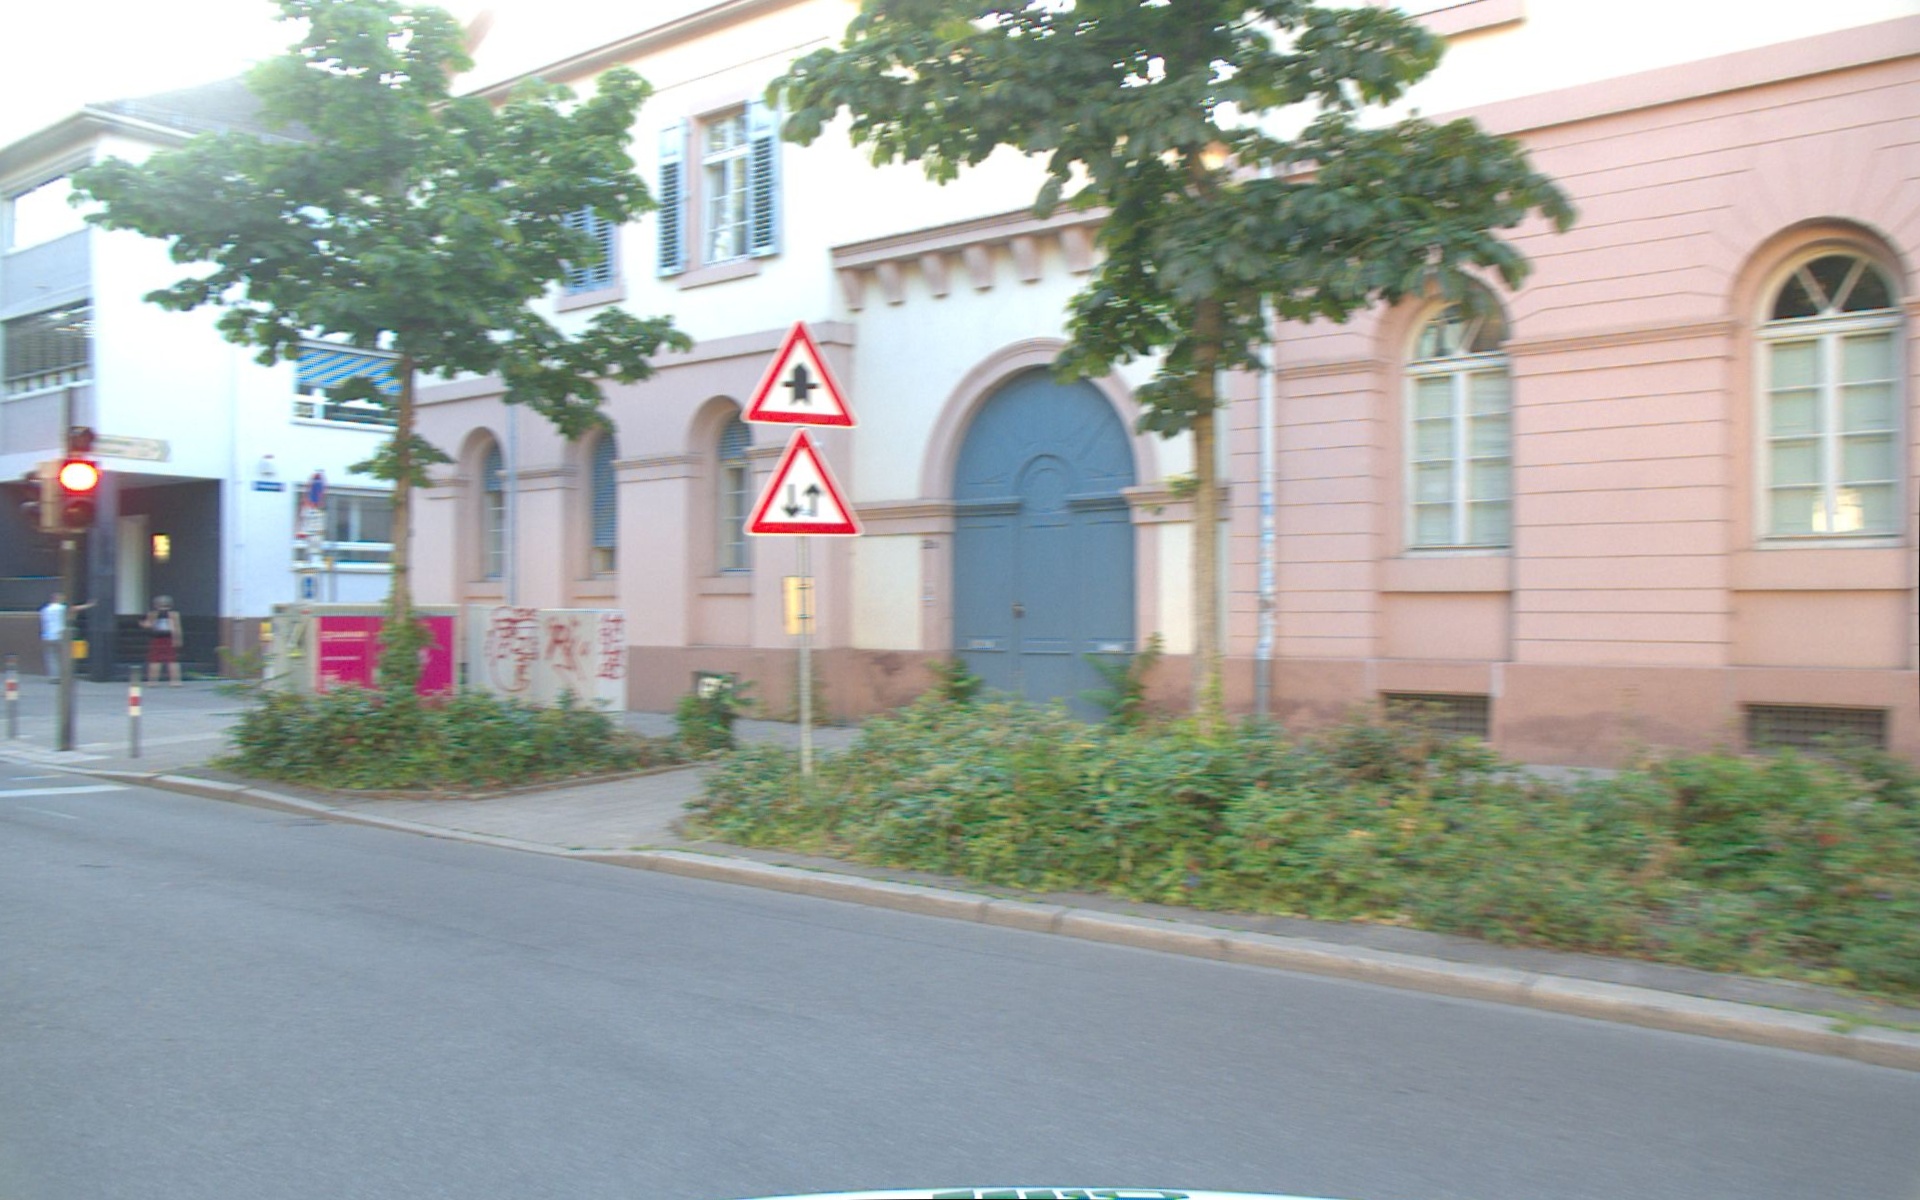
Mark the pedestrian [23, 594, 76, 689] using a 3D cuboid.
[{"bbox_3d":[-17.449,0.786,31.704,0.687,1.782,0.701,0,-1,44],"label":"pedestrian"}]

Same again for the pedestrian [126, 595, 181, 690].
[{"bbox_3d":[-15.446,0.806,31.683,0.919,1.782,0.764,1,-1,-27],"label":"pedestrian"}]
